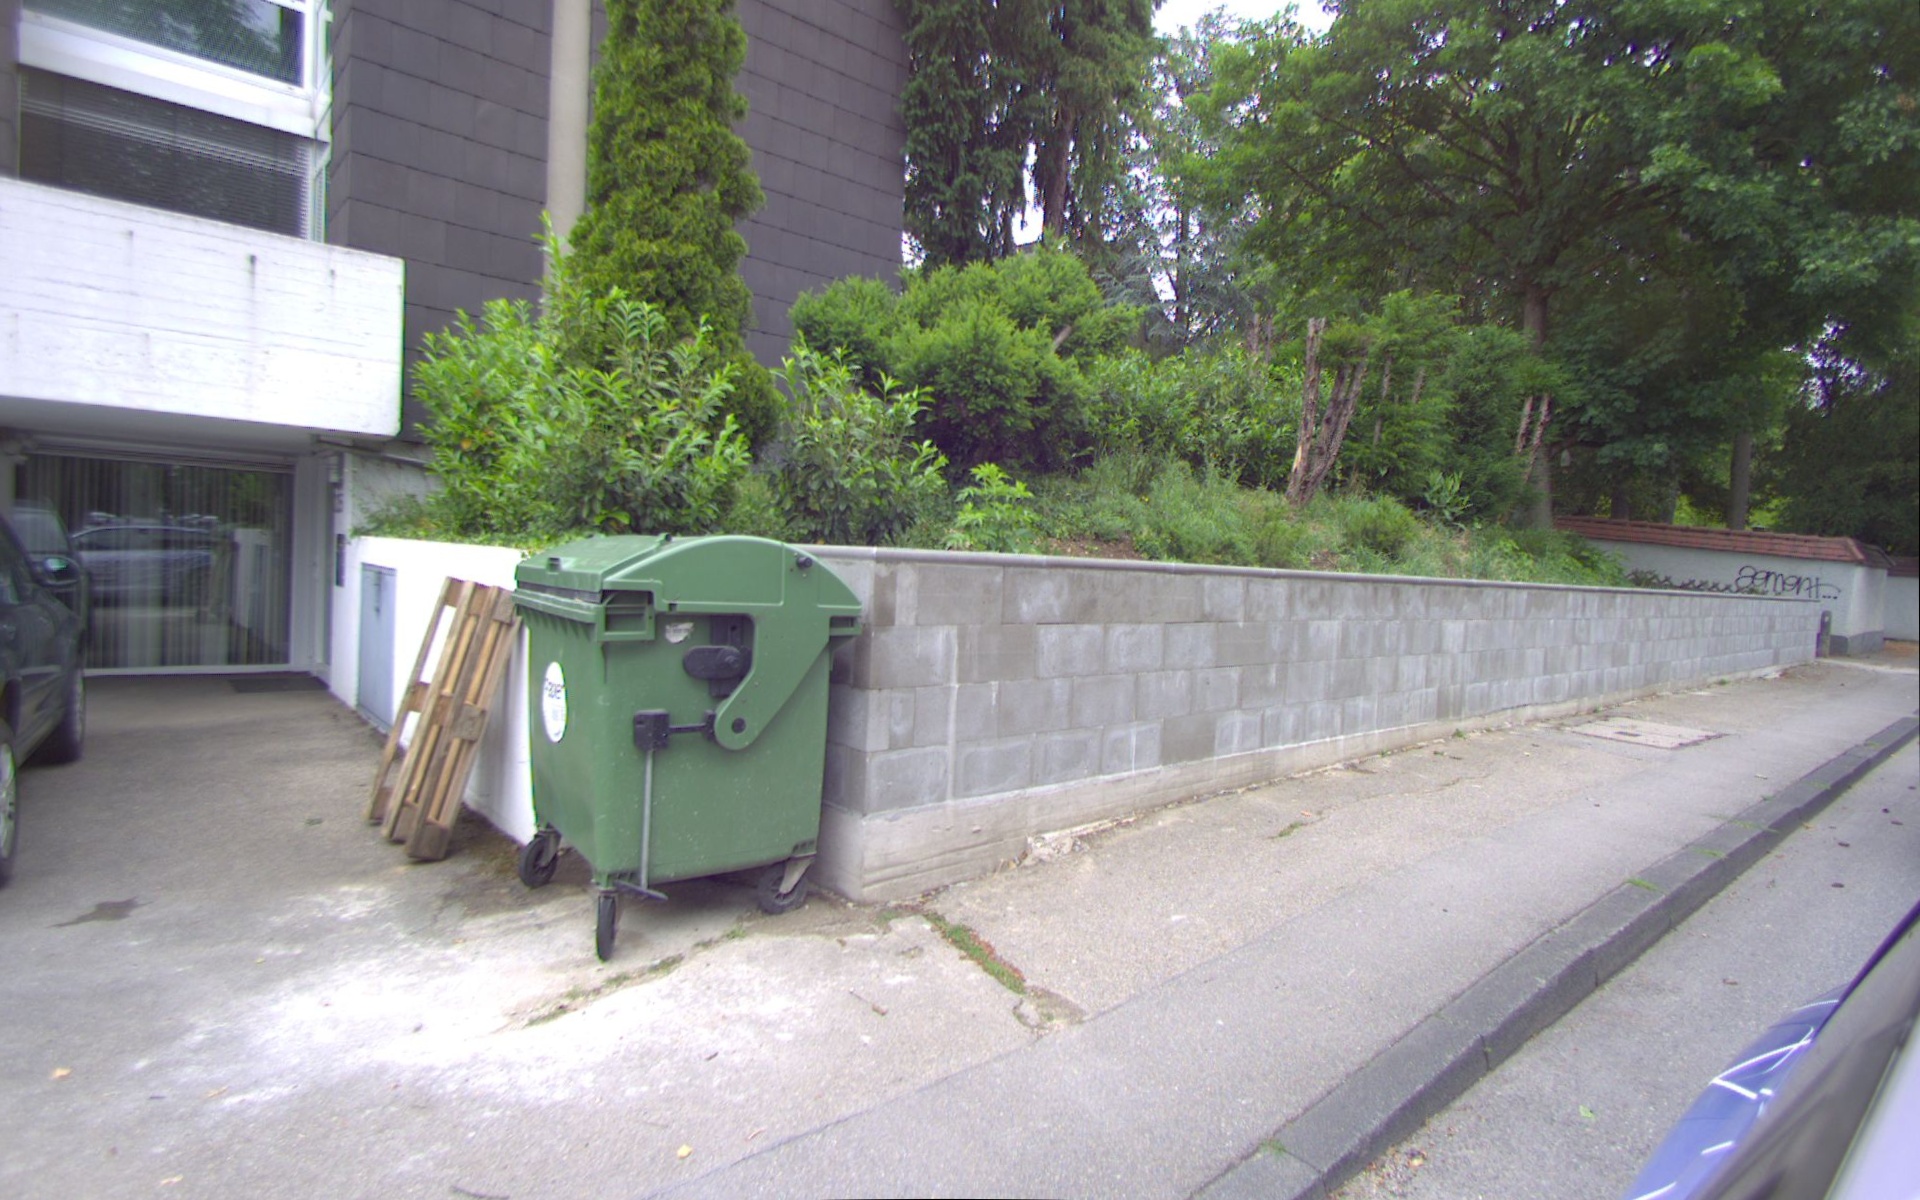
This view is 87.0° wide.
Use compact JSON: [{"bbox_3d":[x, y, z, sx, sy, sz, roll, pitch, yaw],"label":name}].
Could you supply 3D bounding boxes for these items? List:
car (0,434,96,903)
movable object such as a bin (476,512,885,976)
[{"bbox_3d":[-5.034,0.150,4.356,1.712,1.671,3.914,0,4,-36],"label":"car"},{"bbox_3d":[-1.170,0.417,4.082,1.096,1.469,1.407,0,3,-40],"label":"movable object such as a bin"}]
